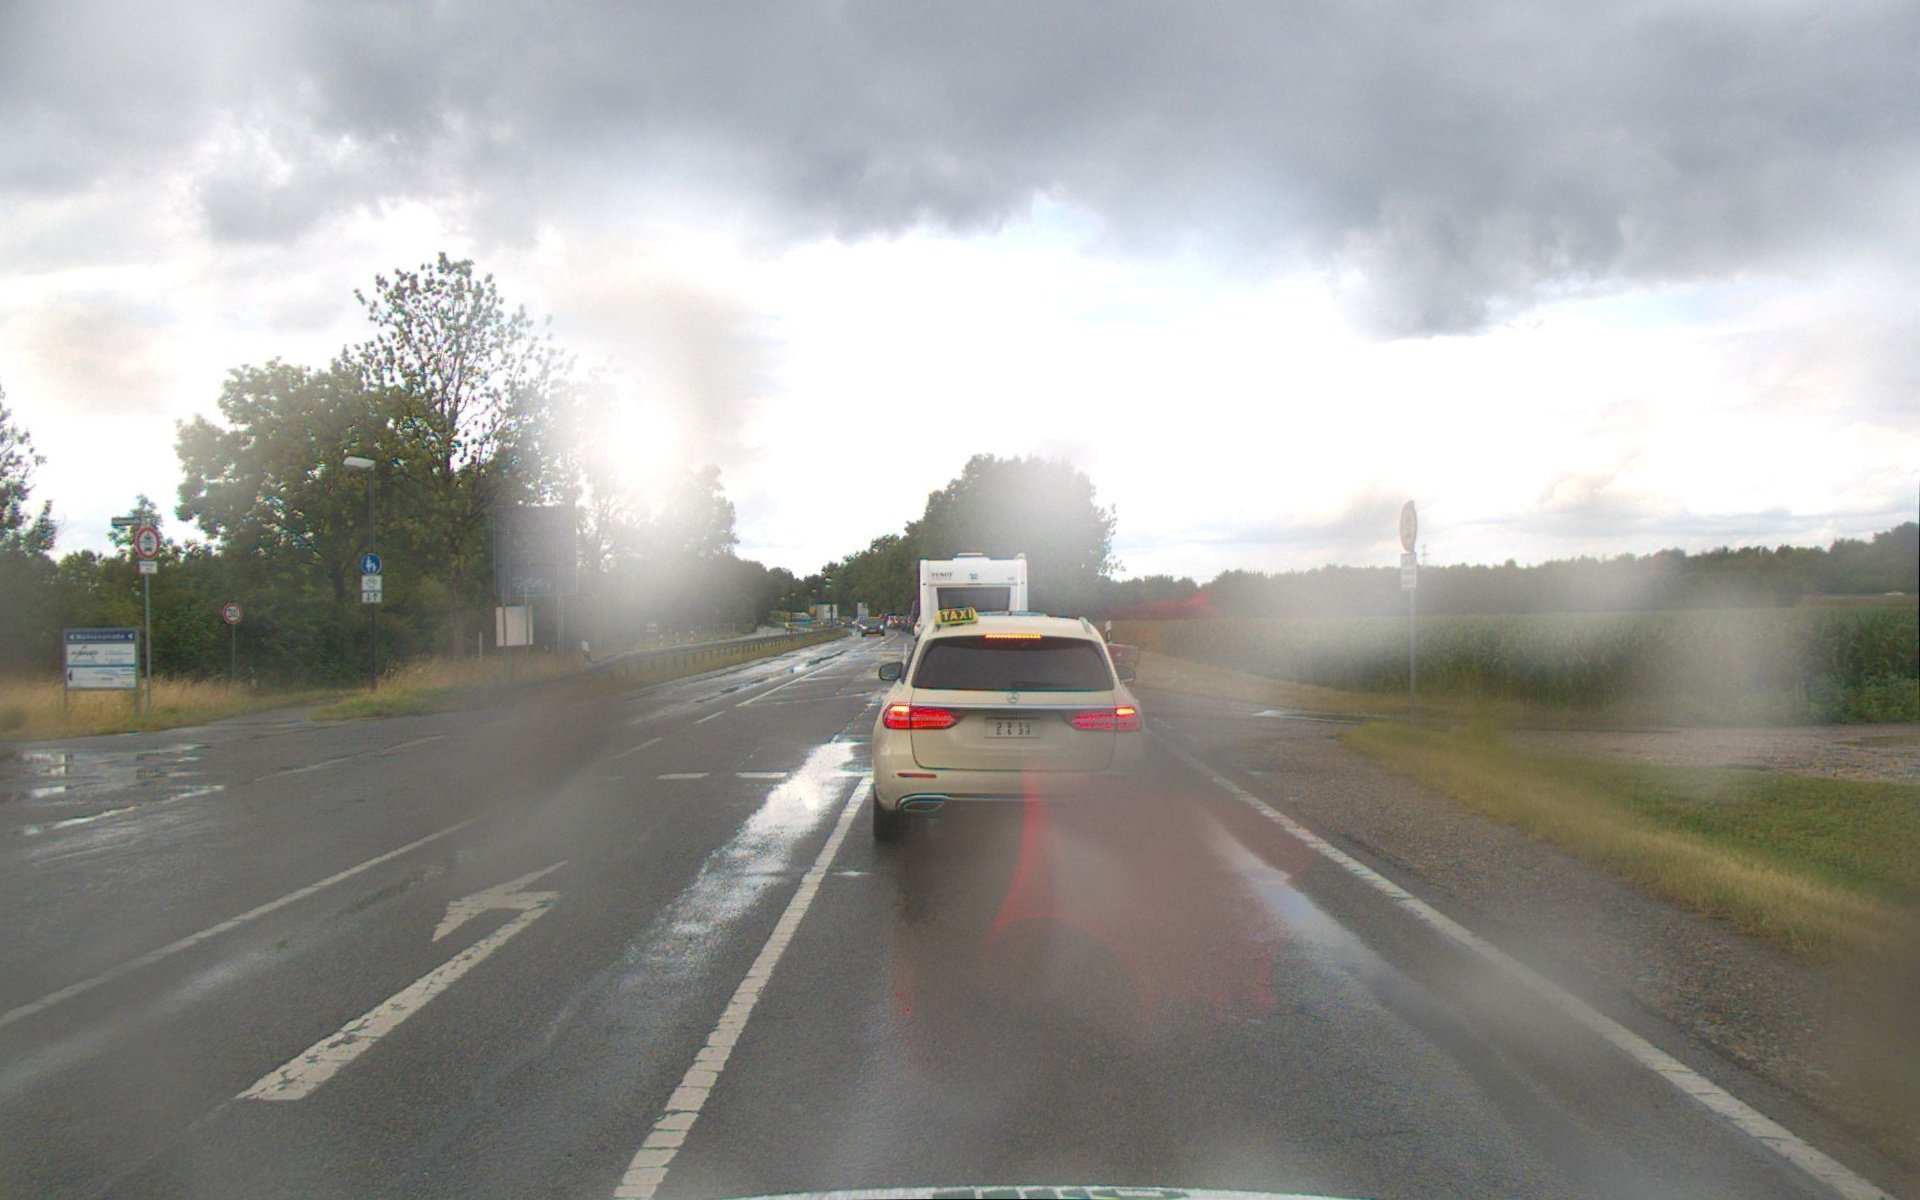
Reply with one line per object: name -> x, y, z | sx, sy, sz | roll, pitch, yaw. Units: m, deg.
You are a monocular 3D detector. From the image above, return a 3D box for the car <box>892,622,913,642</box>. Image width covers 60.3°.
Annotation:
car -> -5.425, 3.027, 155.693 | 1.841, 1.792, 3.833 | -1, -1, -1

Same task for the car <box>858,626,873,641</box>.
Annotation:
car -> -10.609, 3.793, 186.645 | 1.548, 1.669, 3.440 | -1, -1, -1

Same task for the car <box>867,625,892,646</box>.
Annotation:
car -> -6.307, 2.779, 130.074 | 1.791, 1.601, 3.999 | 1, -1, 0

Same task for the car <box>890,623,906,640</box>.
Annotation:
car -> -7.161, 3.607, 190.844 | 1.705, 1.892, 3.784 | -1, -1, -1

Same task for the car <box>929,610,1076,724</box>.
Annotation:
car -> 0.544, 0.941, 24.340 | 1.953, 1.488, 3.999 | 1, -1, -1

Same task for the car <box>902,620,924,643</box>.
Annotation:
car -> -3.875, 2.622, 136.902 | 1.755, 1.809, 3.720 | -1, -1, -1

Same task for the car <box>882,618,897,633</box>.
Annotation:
car -> -8.979, 3.262, 210.680 | 1.858, 1.928, 3.840 | -1, -1, -4

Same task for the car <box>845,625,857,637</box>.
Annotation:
car -> -14.467, 4.060, 219.276 | 1.576, 1.518, 3.782 | -1, -1, -4

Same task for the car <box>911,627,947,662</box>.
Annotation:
car -> -1.708, 2.478, 92.216 | 1.876, 1.873, 3.795 | -1, -1, 0

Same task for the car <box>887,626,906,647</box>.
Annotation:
car -> -6.305, 3.640, 164.969 | 1.814, 2.049, 3.809 | -1, -1, -1

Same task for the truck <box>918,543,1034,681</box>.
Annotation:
truck -> 0.270, 0.291, 37.422 | 2.315, 2.777, 7.312 | -1, -1, -1

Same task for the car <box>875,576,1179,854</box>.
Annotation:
car -> 0.374, 0.716, 11.829 | 1.805, 1.646, 3.999 | 0, -1, -1

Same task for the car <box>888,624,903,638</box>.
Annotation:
car -> -7.904, 3.764, 202.684 | 1.715, 1.691, 3.668 | -1, -1, -5
